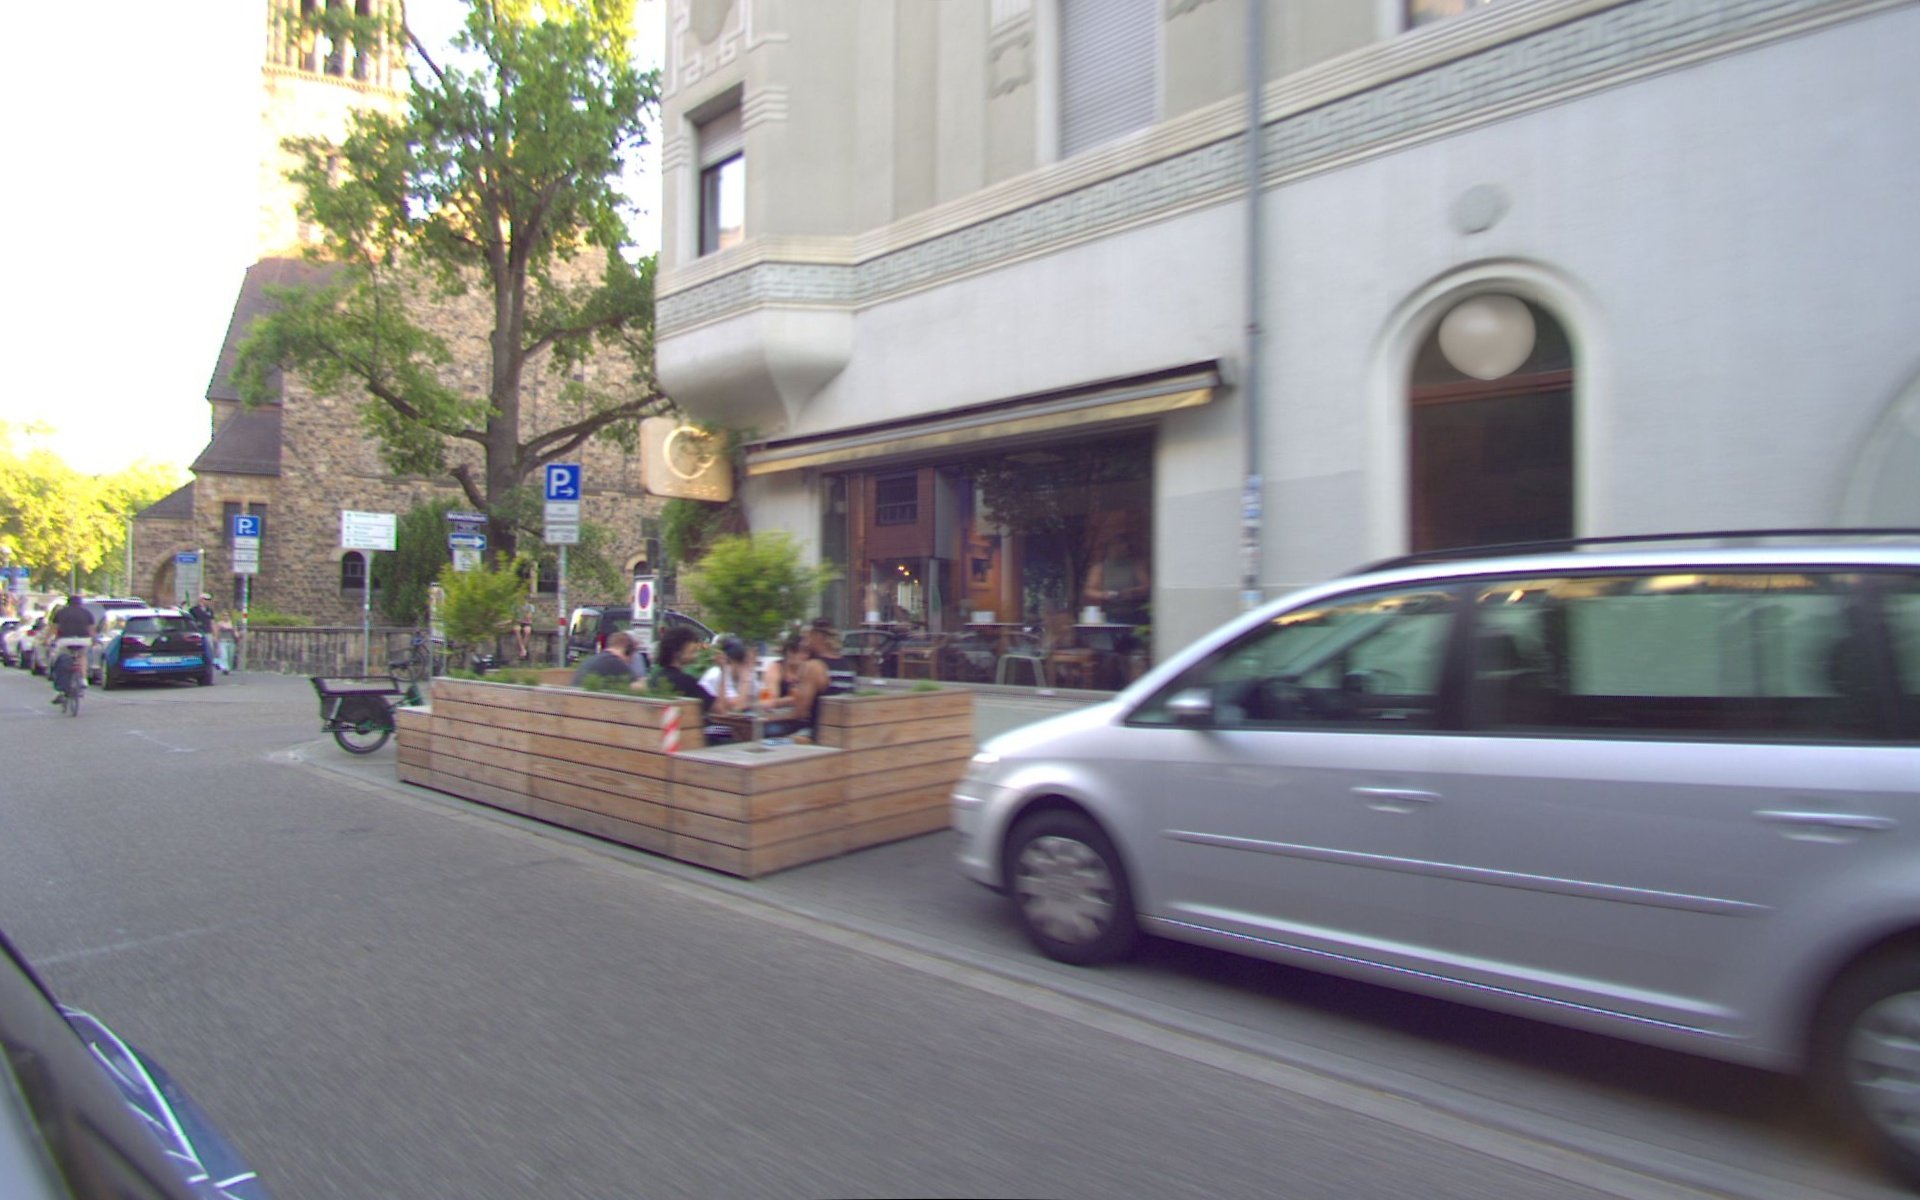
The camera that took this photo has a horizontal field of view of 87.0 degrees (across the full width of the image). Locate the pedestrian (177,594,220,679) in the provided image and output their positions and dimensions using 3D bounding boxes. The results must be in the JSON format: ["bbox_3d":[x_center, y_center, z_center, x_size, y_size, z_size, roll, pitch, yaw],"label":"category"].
[{"bbox_3d":[-17.601,0.843,23.393,0.802,1.920,0.576,-1,-3,38],"label":"pedestrian"}]

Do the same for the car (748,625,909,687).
[{"bbox_3d":[-3.405,1.426,26.835,1.720,1.511,4.156,-1,-2,40],"label":"car"}]

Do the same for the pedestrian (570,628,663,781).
[{"bbox_3d":[-3.182,0.934,9.370,0.705,1.335,0.531,-1,-2,42],"label":"pedestrian"}]

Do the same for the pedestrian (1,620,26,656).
[{"bbox_3d":[-46.376,1.844,49.585,0.689,1.738,0.708,-1,-2,32],"label":"pedestrian"}]

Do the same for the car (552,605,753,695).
[{"bbox_3d":[-6.911,1.101,23.003,1.892,1.858,3.942,-2,-3,44],"label":"car"}]

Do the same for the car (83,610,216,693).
[{"bbox_3d":[-16.939,1.030,21.097,4.004,1.567,1.622,-2,-2,44],"label":"car"}]

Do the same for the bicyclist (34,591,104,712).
[{"bbox_3d":[-13.094,0.741,14.873,1.142,1.697,0.596,-1,-3,42],"label":"bicyclist"}]

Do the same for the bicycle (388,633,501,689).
[{"bbox_3d":[-11.133,1.301,21.926,0.555,1.142,2.116,-1,-3,42],"label":"bicycle"}]

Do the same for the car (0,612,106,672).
[{"bbox_3d":[-26.301,1.192,29.139,4.465,1.604,1.852,-1,-2,40],"label":"car"}]

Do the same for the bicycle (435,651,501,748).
[{"bbox_3d":[-5.666,1.098,11.616,0.417,1.020,1.722,1,-3,-35],"label":"bicycle"}]

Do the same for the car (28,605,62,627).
[{"bbox_3d":[-87.759,1.537,97.130,1.837,2.029,3.820,2,-2,-34],"label":"car"}]

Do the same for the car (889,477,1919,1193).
[{"bbox_3d":[1.953,0.557,3.754,4.311,1.603,1.973,-1,-2,41],"label":"car"}]

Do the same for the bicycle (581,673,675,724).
[{"bbox_3d":[-4.940,1.443,15.009,1.777,0.701,0.419,-4,-4,39],"label":"bicycle"}]

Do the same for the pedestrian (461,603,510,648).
[{"bbox_3d":[-10.768,0.576,22.945,0.836,0.988,0.699,-1,-3,39],"label":"pedestrian"}]

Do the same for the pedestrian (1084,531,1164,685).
[{"bbox_3d":[1.501,0.078,9.283,0.518,1.360,0.533,-1,-2,42],"label":"pedestrian"}]

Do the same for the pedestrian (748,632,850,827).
[{"bbox_3d":[-1.199,0.924,7.523,0.610,1.360,0.463,-1,-2,40],"label":"pedestrian"}]

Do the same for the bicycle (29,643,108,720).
[{"bbox_3d":[-13.110,1.166,14.871,1.903,1.048,0.608,-1,-2,41],"label":"bicycle"}]

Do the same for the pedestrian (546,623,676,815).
[{"bbox_3d":[-2.598,0.838,7.535,0.770,1.335,0.603,-1,-2,40],"label":"pedestrian"}]

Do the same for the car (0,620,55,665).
[{"bbox_3d":[-32.240,1.427,34.407,4.315,1.446,1.764,-1,-3,43],"label":"car"}]

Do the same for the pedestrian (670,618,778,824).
[{"bbox_3d":[-1.650,0.810,7.081,0.610,1.360,0.463,-1,-2,40],"label":"pedestrian"}]

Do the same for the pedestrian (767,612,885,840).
[{"bbox_3d":[-0.844,0.758,6.409,0.539,1.360,0.512,-1,-2,38],"label":"pedestrian"}]

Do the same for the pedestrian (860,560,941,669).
[{"bbox_3d":[-0.666,0.166,11.319,0.747,1.162,0.551,-1,-2,40],"label":"pedestrian"}]

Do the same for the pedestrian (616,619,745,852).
[{"bbox_3d":[-1.746,0.798,6.314,0.668,1.360,0.479,-1,-2,40],"label":"pedestrian"}]

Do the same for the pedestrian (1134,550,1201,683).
[{"bbox_3d":[2.255,0.183,11.009,0.518,1.394,0.533,-1,-2,41],"label":"pedestrian"}]

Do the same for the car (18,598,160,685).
[{"bbox_3d":[-21.078,0.975,24.409,5.289,1.881,1.972,-2,-2,43],"label":"car"}]

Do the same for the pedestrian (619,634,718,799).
[{"bbox_3d":[-2.516,0.967,8.735,0.705,1.335,0.531,-1,-2,42],"label":"pedestrian"}]

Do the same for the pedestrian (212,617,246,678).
[{"bbox_3d":[-17.266,1.104,23.917,0.659,1.416,0.526,-1,-1,42],"label":"pedestrian"}]

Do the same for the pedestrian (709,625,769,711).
[{"bbox_3d":[-3.938,1.198,18.035,0.783,1.480,0.694,-1,-3,40],"label":"pedestrian"}]

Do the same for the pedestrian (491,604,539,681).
[{"bbox_3d":[-10.325,0.982,23.491,0.836,1.734,0.699,-1,-3,39],"label":"pedestrian"}]

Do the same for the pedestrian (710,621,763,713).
[{"bbox_3d":[-3.688,1.092,16.702,0.644,1.480,0.566,-1,-3,39],"label":"pedestrian"}]

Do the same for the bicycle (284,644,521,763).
[{"bbox_3d":[-5.615,1.018,10.332,2.080,1.103,0.502,0,-3,-24],"label":"bicycle"}]

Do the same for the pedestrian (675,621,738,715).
[{"bbox_3d":[-4.356,1.152,17.381,0.783,1.552,0.694,-1,-3,40],"label":"pedestrian"}]
